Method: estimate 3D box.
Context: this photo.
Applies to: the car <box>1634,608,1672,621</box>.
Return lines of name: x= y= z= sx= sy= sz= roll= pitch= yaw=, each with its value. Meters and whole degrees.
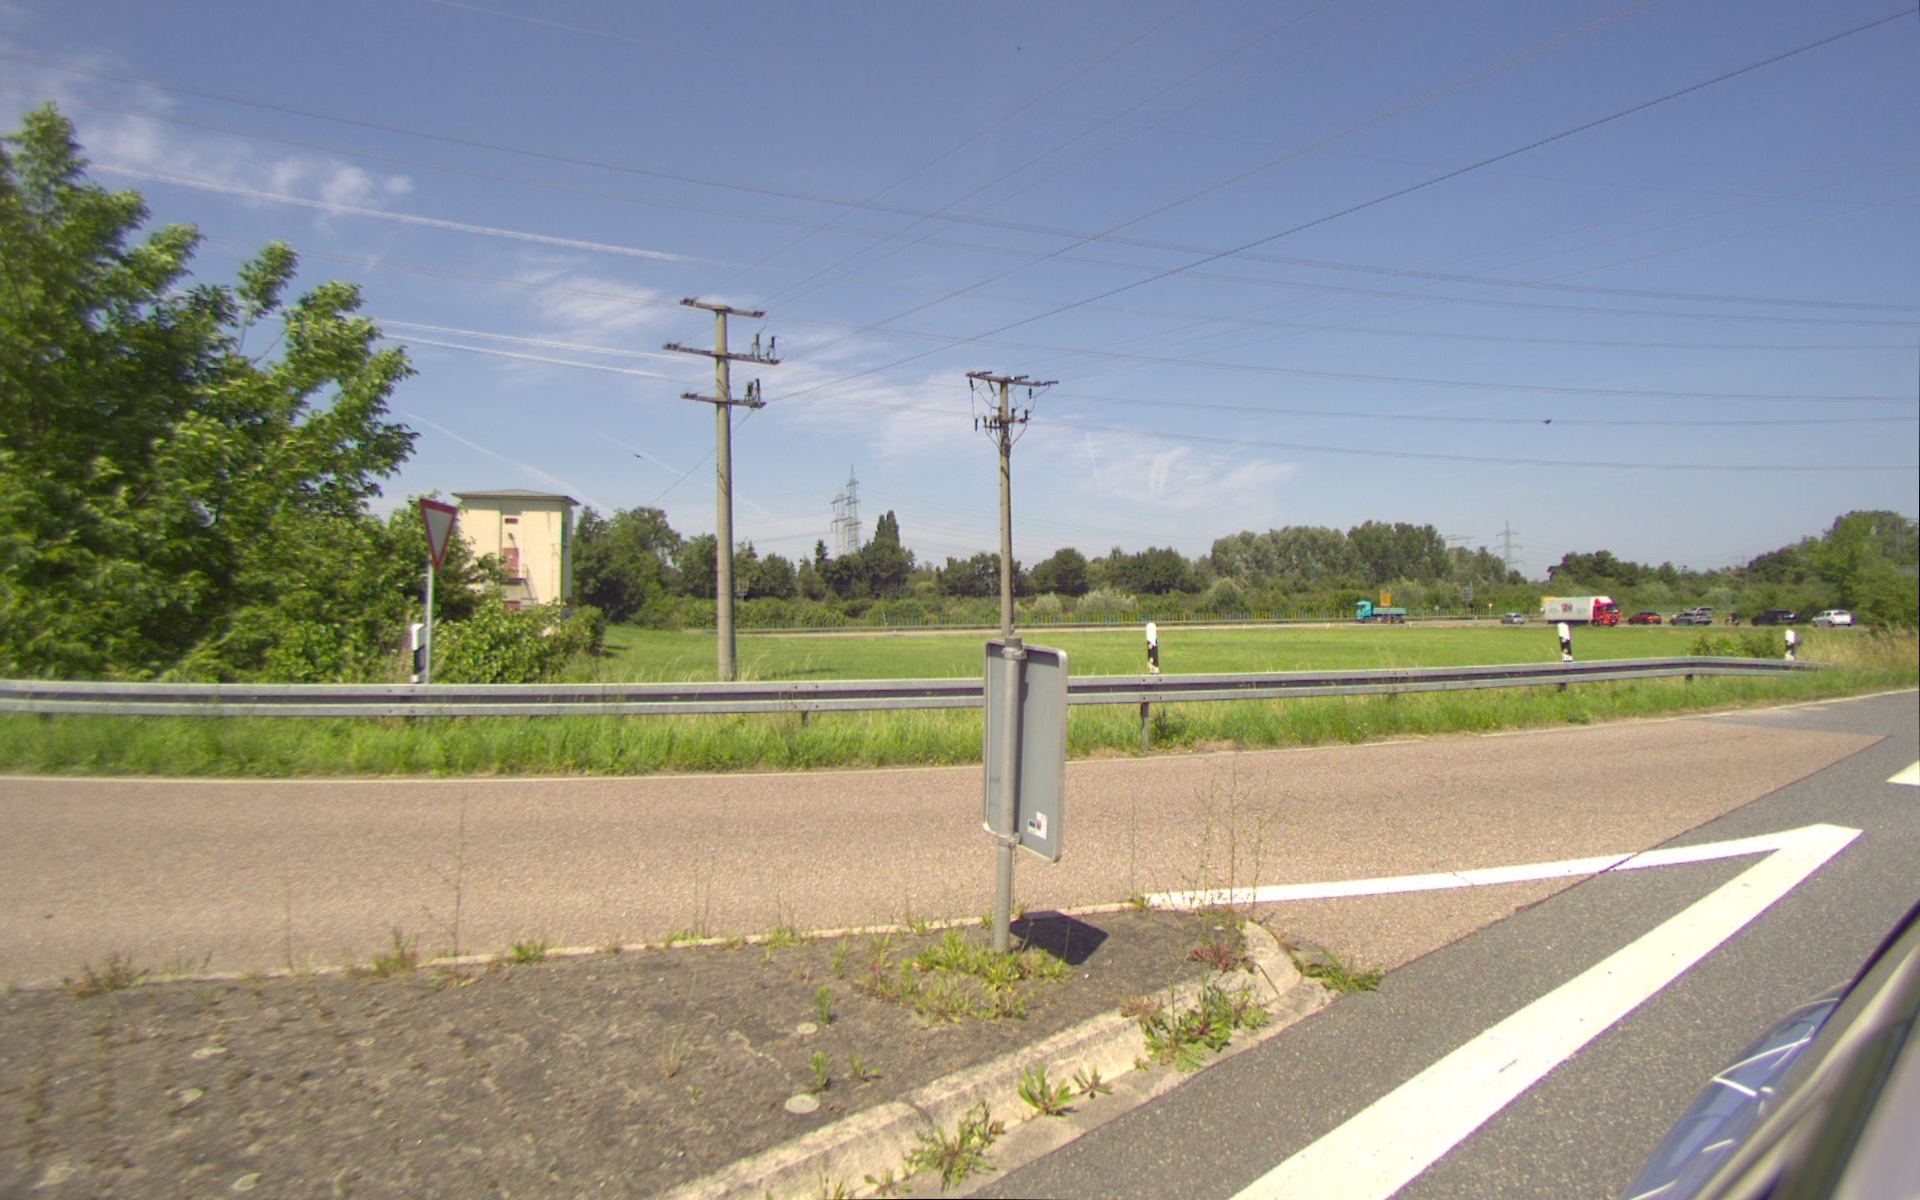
car: x=83.011 y=1.744 z=121.305 sx=1.772 sy=1.535 sz=4.387 roll=-1 pitch=0 yaw=4

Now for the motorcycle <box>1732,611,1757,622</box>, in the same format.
motorcycle: x=82.378 y=1.702 z=106.245 sx=0.770 sy=1.138 sz=2.427 roll=-3 pitch=-1 yaw=4

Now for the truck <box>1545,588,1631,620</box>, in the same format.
truck: x=76.030 y=0.487 z=122.765 sx=2.669 sy=3.624 sz=9.572 roll=-3 pitch=0 yaw=-14

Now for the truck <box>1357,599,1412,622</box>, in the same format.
truck: x=67.210 y=1.707 z=160.401 sx=7.496 sy=3.516 sz=2.599 roll=-1 pitch=-1 yaw=14

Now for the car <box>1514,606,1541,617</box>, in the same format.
car: x=82.949 y=1.716 z=147.964 sx=1.606 sy=1.478 sz=4.007 roll=-1 pitch=-1 yaw=-1

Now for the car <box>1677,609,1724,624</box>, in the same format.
car: x=82.554 y=1.823 z=112.869 sx=1.814 sy=1.478 sz=4.804 roll=-2 pitch=0 yaw=4

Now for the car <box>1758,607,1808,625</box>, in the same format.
car: x=80.871 y=1.548 z=99.480 sx=1.678 sy=1.659 sz=4.240 roll=-3 pitch=-1 yaw=7

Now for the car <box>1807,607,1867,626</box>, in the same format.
car: x=79.896 y=1.541 z=92.290 sx=1.830 sy=1.622 sz=4.763 roll=-3 pitch=-2 yaw=9
